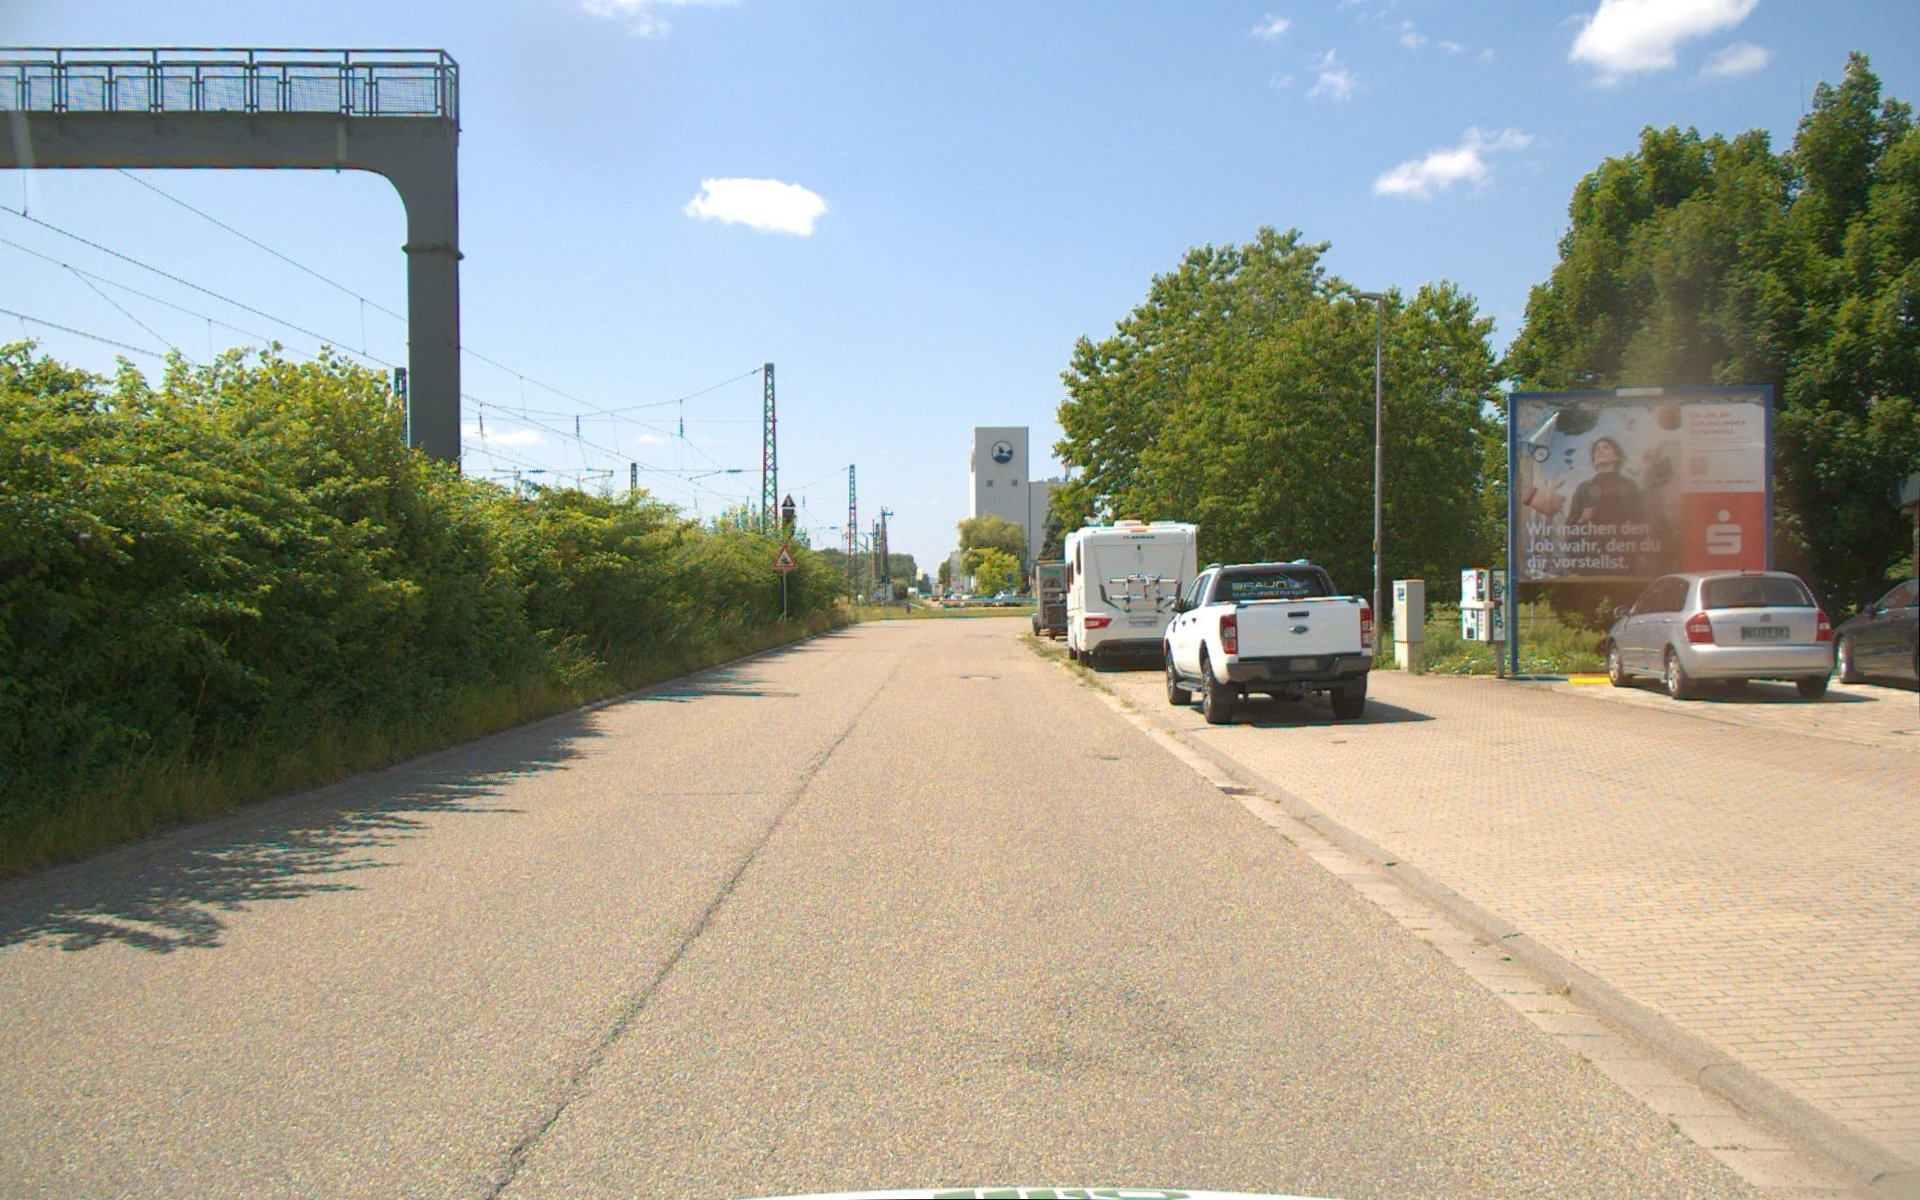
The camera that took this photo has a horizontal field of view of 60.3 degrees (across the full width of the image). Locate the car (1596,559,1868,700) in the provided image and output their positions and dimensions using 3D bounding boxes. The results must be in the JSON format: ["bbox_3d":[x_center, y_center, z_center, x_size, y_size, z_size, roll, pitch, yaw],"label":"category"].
[{"bbox_3d":[9.374,0.321,20.463,1.865,1.505,4.003,-2,0,7],"label":"car"}]

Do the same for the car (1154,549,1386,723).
[{"bbox_3d":[3.714,0.380,20.833,1.810,1.846,5.424,-2,0,-1],"label":"car"}]

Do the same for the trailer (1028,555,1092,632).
[{"bbox_3d":[3.546,-0.248,59.441,1.879,2.552,4.741,-3,0,0],"label":"trailer"}]

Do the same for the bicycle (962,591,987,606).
[{"bbox_3d":[1.205,-0.134,136.907,2.101,1.185,0.659,0,1,33],"label":"bicycle"}]

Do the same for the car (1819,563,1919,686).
[{"bbox_3d":[11.884,0.267,19.624,1.709,1.400,4.003,-1,0,7],"label":"car"}]

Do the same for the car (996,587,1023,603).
[{"bbox_3d":[4.724,-0.488,157.477,1.955,1.536,4.449,-1,0,-6],"label":"car"}]

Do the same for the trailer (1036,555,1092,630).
[{"bbox_3d":[4.094,-0.313,64.528,1.892,2.690,5.187,-3,0,5],"label":"trailer"}]

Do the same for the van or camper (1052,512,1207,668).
[{"bbox_3d":[3.433,-0.209,35.163,2.389,2.876,7.623,-2,0,0],"label":"van or camper"}]

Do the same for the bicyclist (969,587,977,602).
[{"bbox_3d":[1.052,-0.436,136.994,0.501,1.277,0.468,0,0,33],"label":"bicyclist"}]

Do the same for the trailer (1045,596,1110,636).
[{"bbox_3d":[3.785,0.515,54.001,1.963,1.142,4.490,-3,0,2],"label":"trailer"}]
